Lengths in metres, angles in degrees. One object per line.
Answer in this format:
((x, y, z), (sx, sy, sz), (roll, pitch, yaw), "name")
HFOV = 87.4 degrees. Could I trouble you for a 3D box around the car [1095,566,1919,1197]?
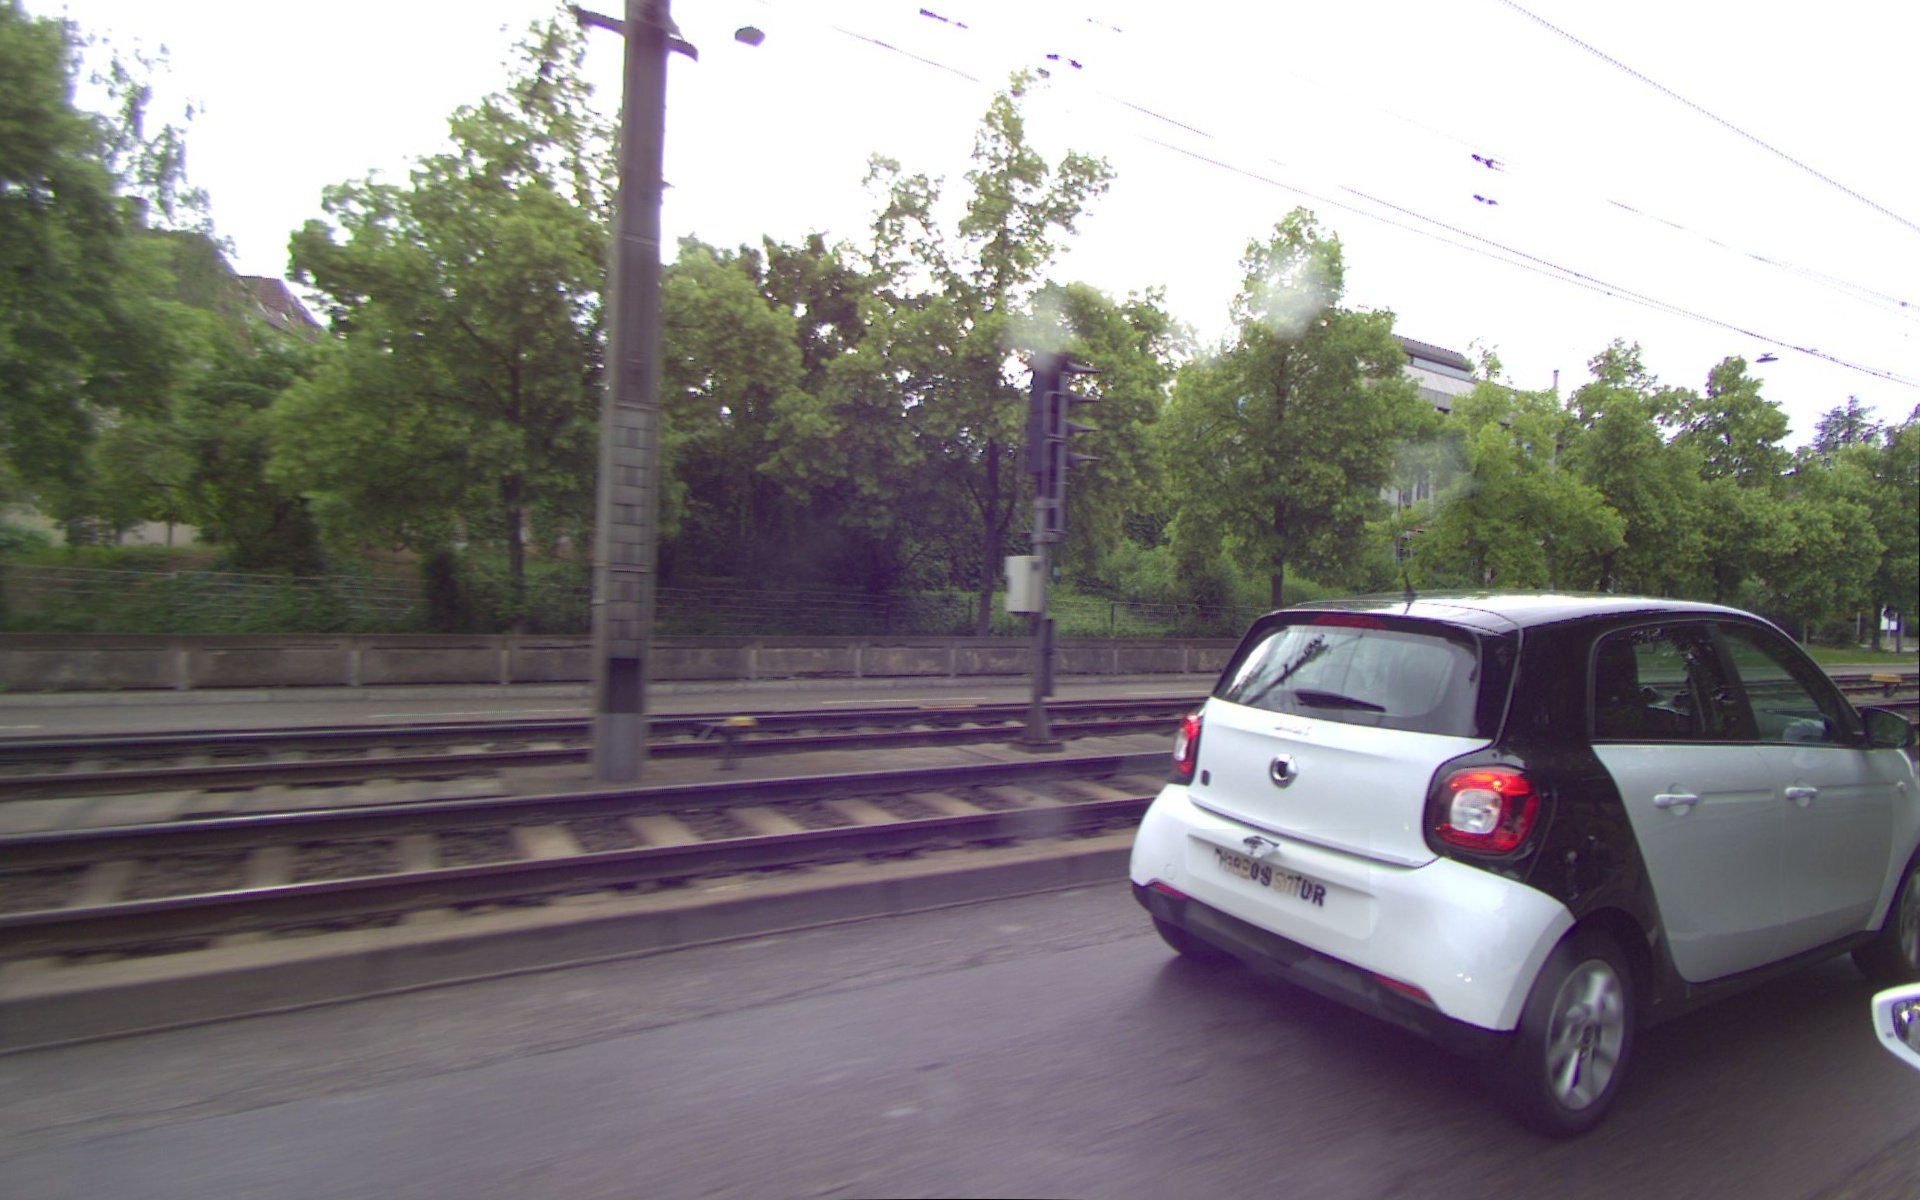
((2.561, 0.721, 4.152), (3.677, 1.551, 1.668), (1, 3, -30), "car")
